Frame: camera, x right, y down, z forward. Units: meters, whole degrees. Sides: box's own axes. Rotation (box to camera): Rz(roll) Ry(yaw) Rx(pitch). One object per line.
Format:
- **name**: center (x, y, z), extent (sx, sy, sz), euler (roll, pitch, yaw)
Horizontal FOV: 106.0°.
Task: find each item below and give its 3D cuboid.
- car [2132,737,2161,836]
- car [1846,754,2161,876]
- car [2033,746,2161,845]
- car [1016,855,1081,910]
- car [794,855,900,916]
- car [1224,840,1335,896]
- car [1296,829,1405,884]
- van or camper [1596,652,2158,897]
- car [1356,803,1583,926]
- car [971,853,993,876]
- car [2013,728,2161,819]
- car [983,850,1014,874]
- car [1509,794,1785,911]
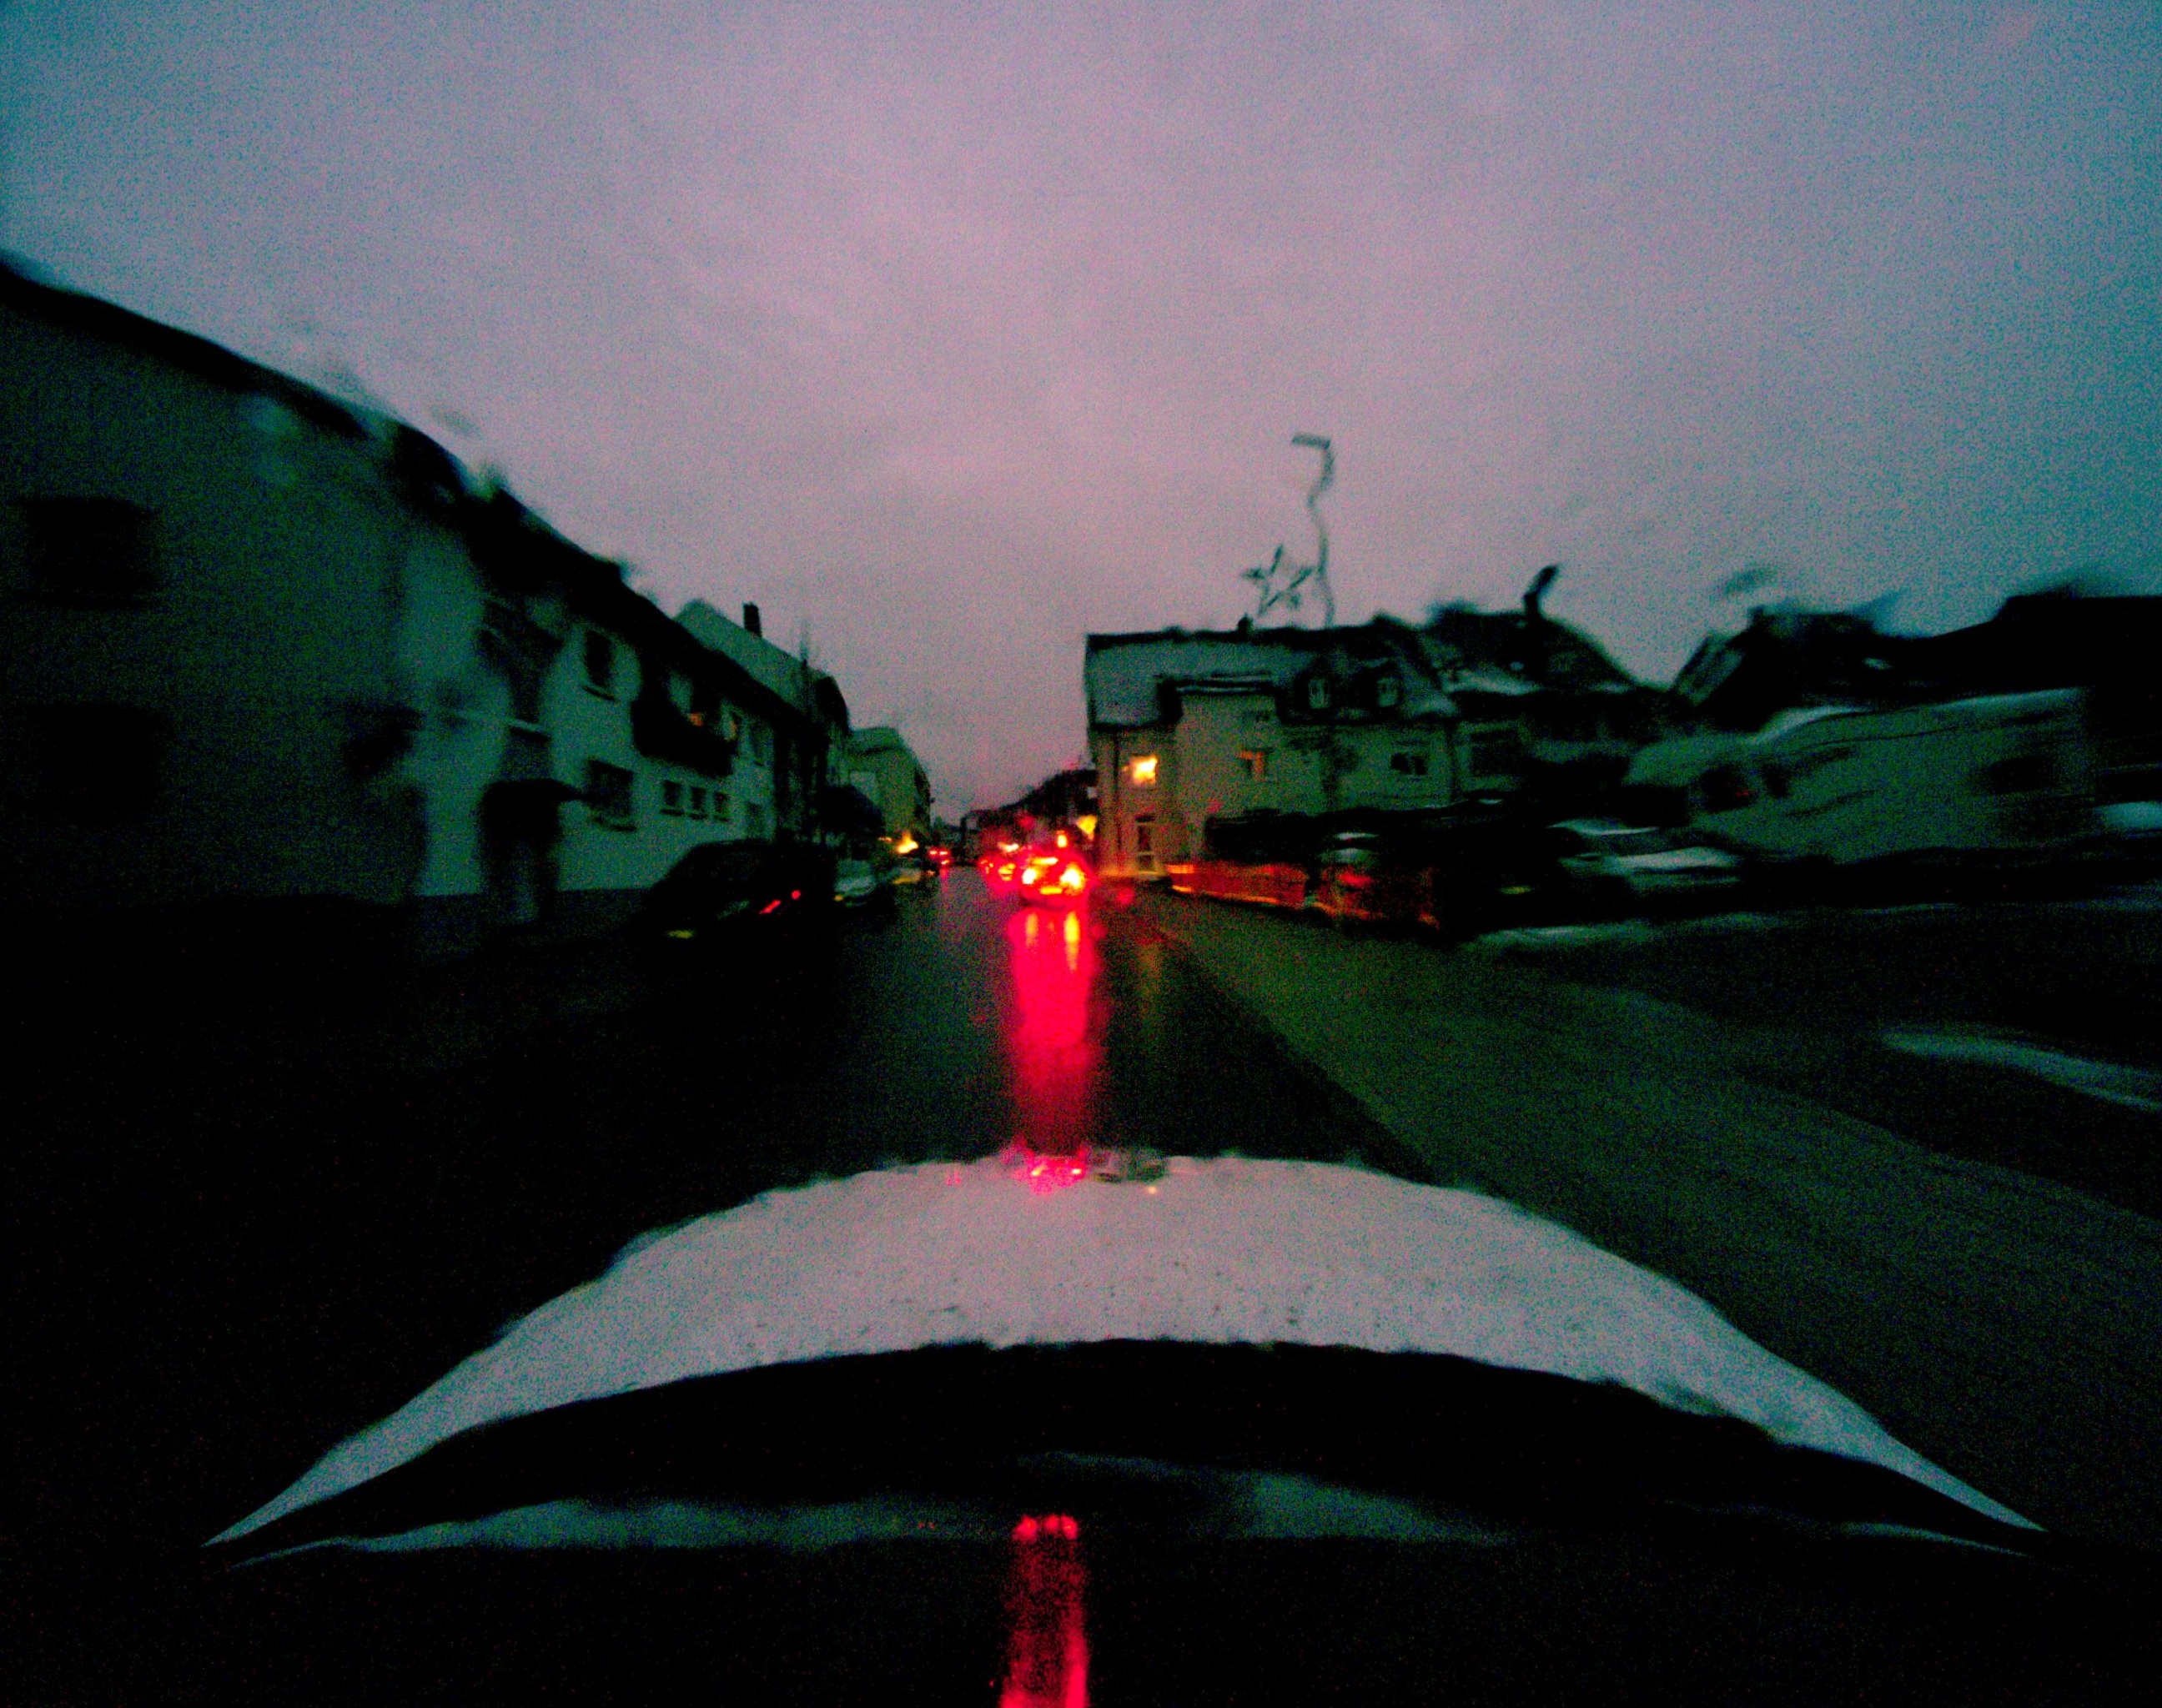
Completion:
- **car**: center (21.290, -1.370, 13.462), extent (1.769, 1.884, 4.809), euler (-5, -1, 6)
- **car**: center (15.216, -0.584, 13.151), extent (1.783, 1.553, 3.999), euler (-8, 0, -1)
- **car**: center (18.578, -1.045, 13.072), extent (1.984, 1.606, 4.006), euler (-6, 0, 5)
- **car**: center (-1.092, 0.817, 25.352), extent (1.812, 1.533, 3.992), euler (-1, 0, -5)
- **car**: center (-6.809, 0.860, 24.210), extent (1.907, 1.529, 4.543), euler (2, 1, -2)
- **car**: center (5.806, 0.377, 24.244), extent (1.887, 1.462, 3.621), euler (-2, 0, -10)
- **car**: center (8.210, 0.077, 25.172), extent (1.720, 1.462, 3.624), euler (-4, 0, -8)
- **van or camper**: center (12.707, -1.051, 14.136), extent (2.647, 3.047, 6.721), euler (-5, 0, -5)
- **car**: center (6.735, 0.156, 14.738), extent (1.987, 1.765, 4.351), euler (-4, 0, 1)
- **car**: center (-9.872, 0.996, 81.350), extent (1.990, 2.202, 3.993), euler (-1, 0, -5)
- **car**: center (30.104, -2.285, 23.475), extent (1.876, 2.333, 4.261), euler (-4, 0, 8)
- **car**: center (-5.856, 0.570, 57.509), extent (1.992, 1.588, 3.990), euler (-1, 0, -7)
- **car**: center (9.557, 0.025, 14.270), extent (1.985, 1.611, 4.177), euler (-4, -1, 3)
